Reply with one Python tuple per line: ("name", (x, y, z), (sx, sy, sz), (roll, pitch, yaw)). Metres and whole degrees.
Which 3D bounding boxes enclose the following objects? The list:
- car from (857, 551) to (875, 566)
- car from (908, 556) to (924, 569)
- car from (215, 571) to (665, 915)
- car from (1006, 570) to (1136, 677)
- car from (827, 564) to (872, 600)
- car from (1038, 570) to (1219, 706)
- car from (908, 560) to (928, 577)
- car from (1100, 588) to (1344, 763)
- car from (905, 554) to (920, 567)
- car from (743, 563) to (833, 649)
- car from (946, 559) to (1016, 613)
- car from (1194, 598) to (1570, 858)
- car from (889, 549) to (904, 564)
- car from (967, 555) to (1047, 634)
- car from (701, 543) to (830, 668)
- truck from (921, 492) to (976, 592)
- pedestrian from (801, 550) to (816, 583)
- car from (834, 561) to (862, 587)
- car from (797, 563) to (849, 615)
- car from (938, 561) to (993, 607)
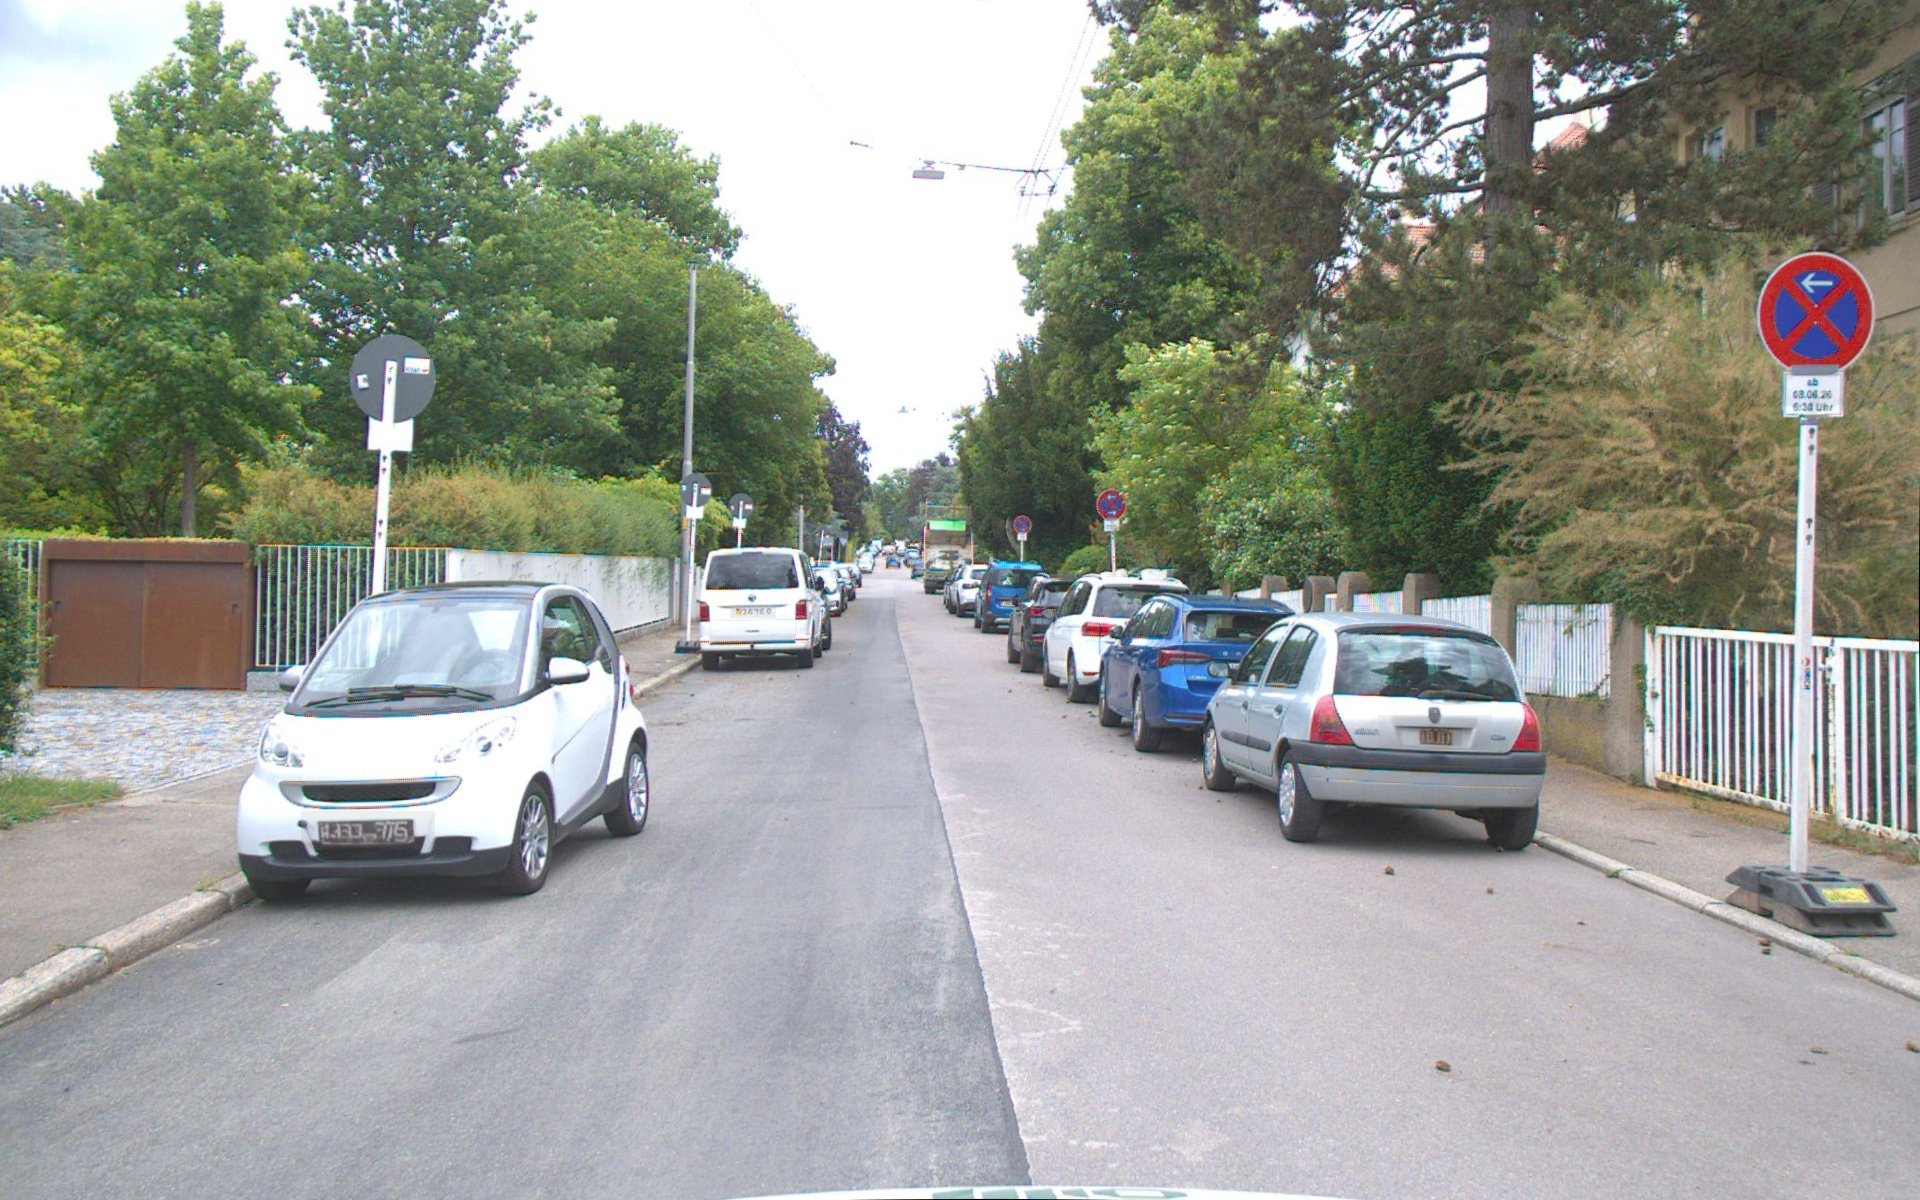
("car", (-9.894, -4.365, 173.942), (1.676, 1.613, 4.001), (1, 1, 0))
("car", (-5.282, -4.523, 198.084), (1.774, 1.358, 3.631), (2, 2, -4))
("car", (-2.721, 0.662, 9.239), (1.412, 1.579, 2.771), (-2, 1, 4))
("car", (1.846, 0.349, 28.616), (1.715, 1.636, 4.073), (3, 1, -3))
("car", (-4.715, -0.805, 71.036), (1.607, 1.447, 4.549), (-1, 1, -1))
("car", (2.229, 0.439, 22.996), (1.750, 1.631, 4.301), (3, 1, -4))
("car", (-3.917, -2.940, 154.375), (1.743, 1.515, 3.998), (1, 1, -4))
("car", (2.483, 0.651, 16.609), (1.614, 1.484, 4.050), (2, 0, -2))
("car", (-5.909, -4.961, 206.732), (1.753, 1.556, 3.734), (1, 1, -1))
("car", (-3.564, 0.067, 34.713), (1.756, 1.651, 4.339), (0, 1, -5))
("car", (0.628, -0.483, 54.023), (1.723, 1.634, 4.570), (2, 1, -6))
("car", (2.773, 0.762, 11.664), (1.542, 1.424, 3.654), (2, 1, -2))
("car", (-7.365, -5.063, 191.872), (1.601, 1.730, 3.493), (1, 2, -3))
("car", (1.180, -0.186, 43.146), (1.649, 1.861, 4.155), (3, 2, -3))
("car", (-3.294, 0.049, 28.780), (1.817, 1.946, 4.617), (-1, 1, -2))
("truck", (-0.666, -2.914, 84.700), (2.473, 4.830, 7.185), (2, 1, -2))
("pedestrian", (-9.525, -2.089, 103.704), (0.836, 2.048, 0.700), (3, 1, -8))
("car", (-6.645, -1.554, 97.890), (1.604, 1.419, 3.986), (-1, 2, -4))
("car", (-4.410, -0.387, 53.091), (1.590, 1.560, 2.959), (-1, 2, -6))
("car", (0.178, -0.595, 60.022), (1.665, 1.597, 4.305), (0, 1, -4))
